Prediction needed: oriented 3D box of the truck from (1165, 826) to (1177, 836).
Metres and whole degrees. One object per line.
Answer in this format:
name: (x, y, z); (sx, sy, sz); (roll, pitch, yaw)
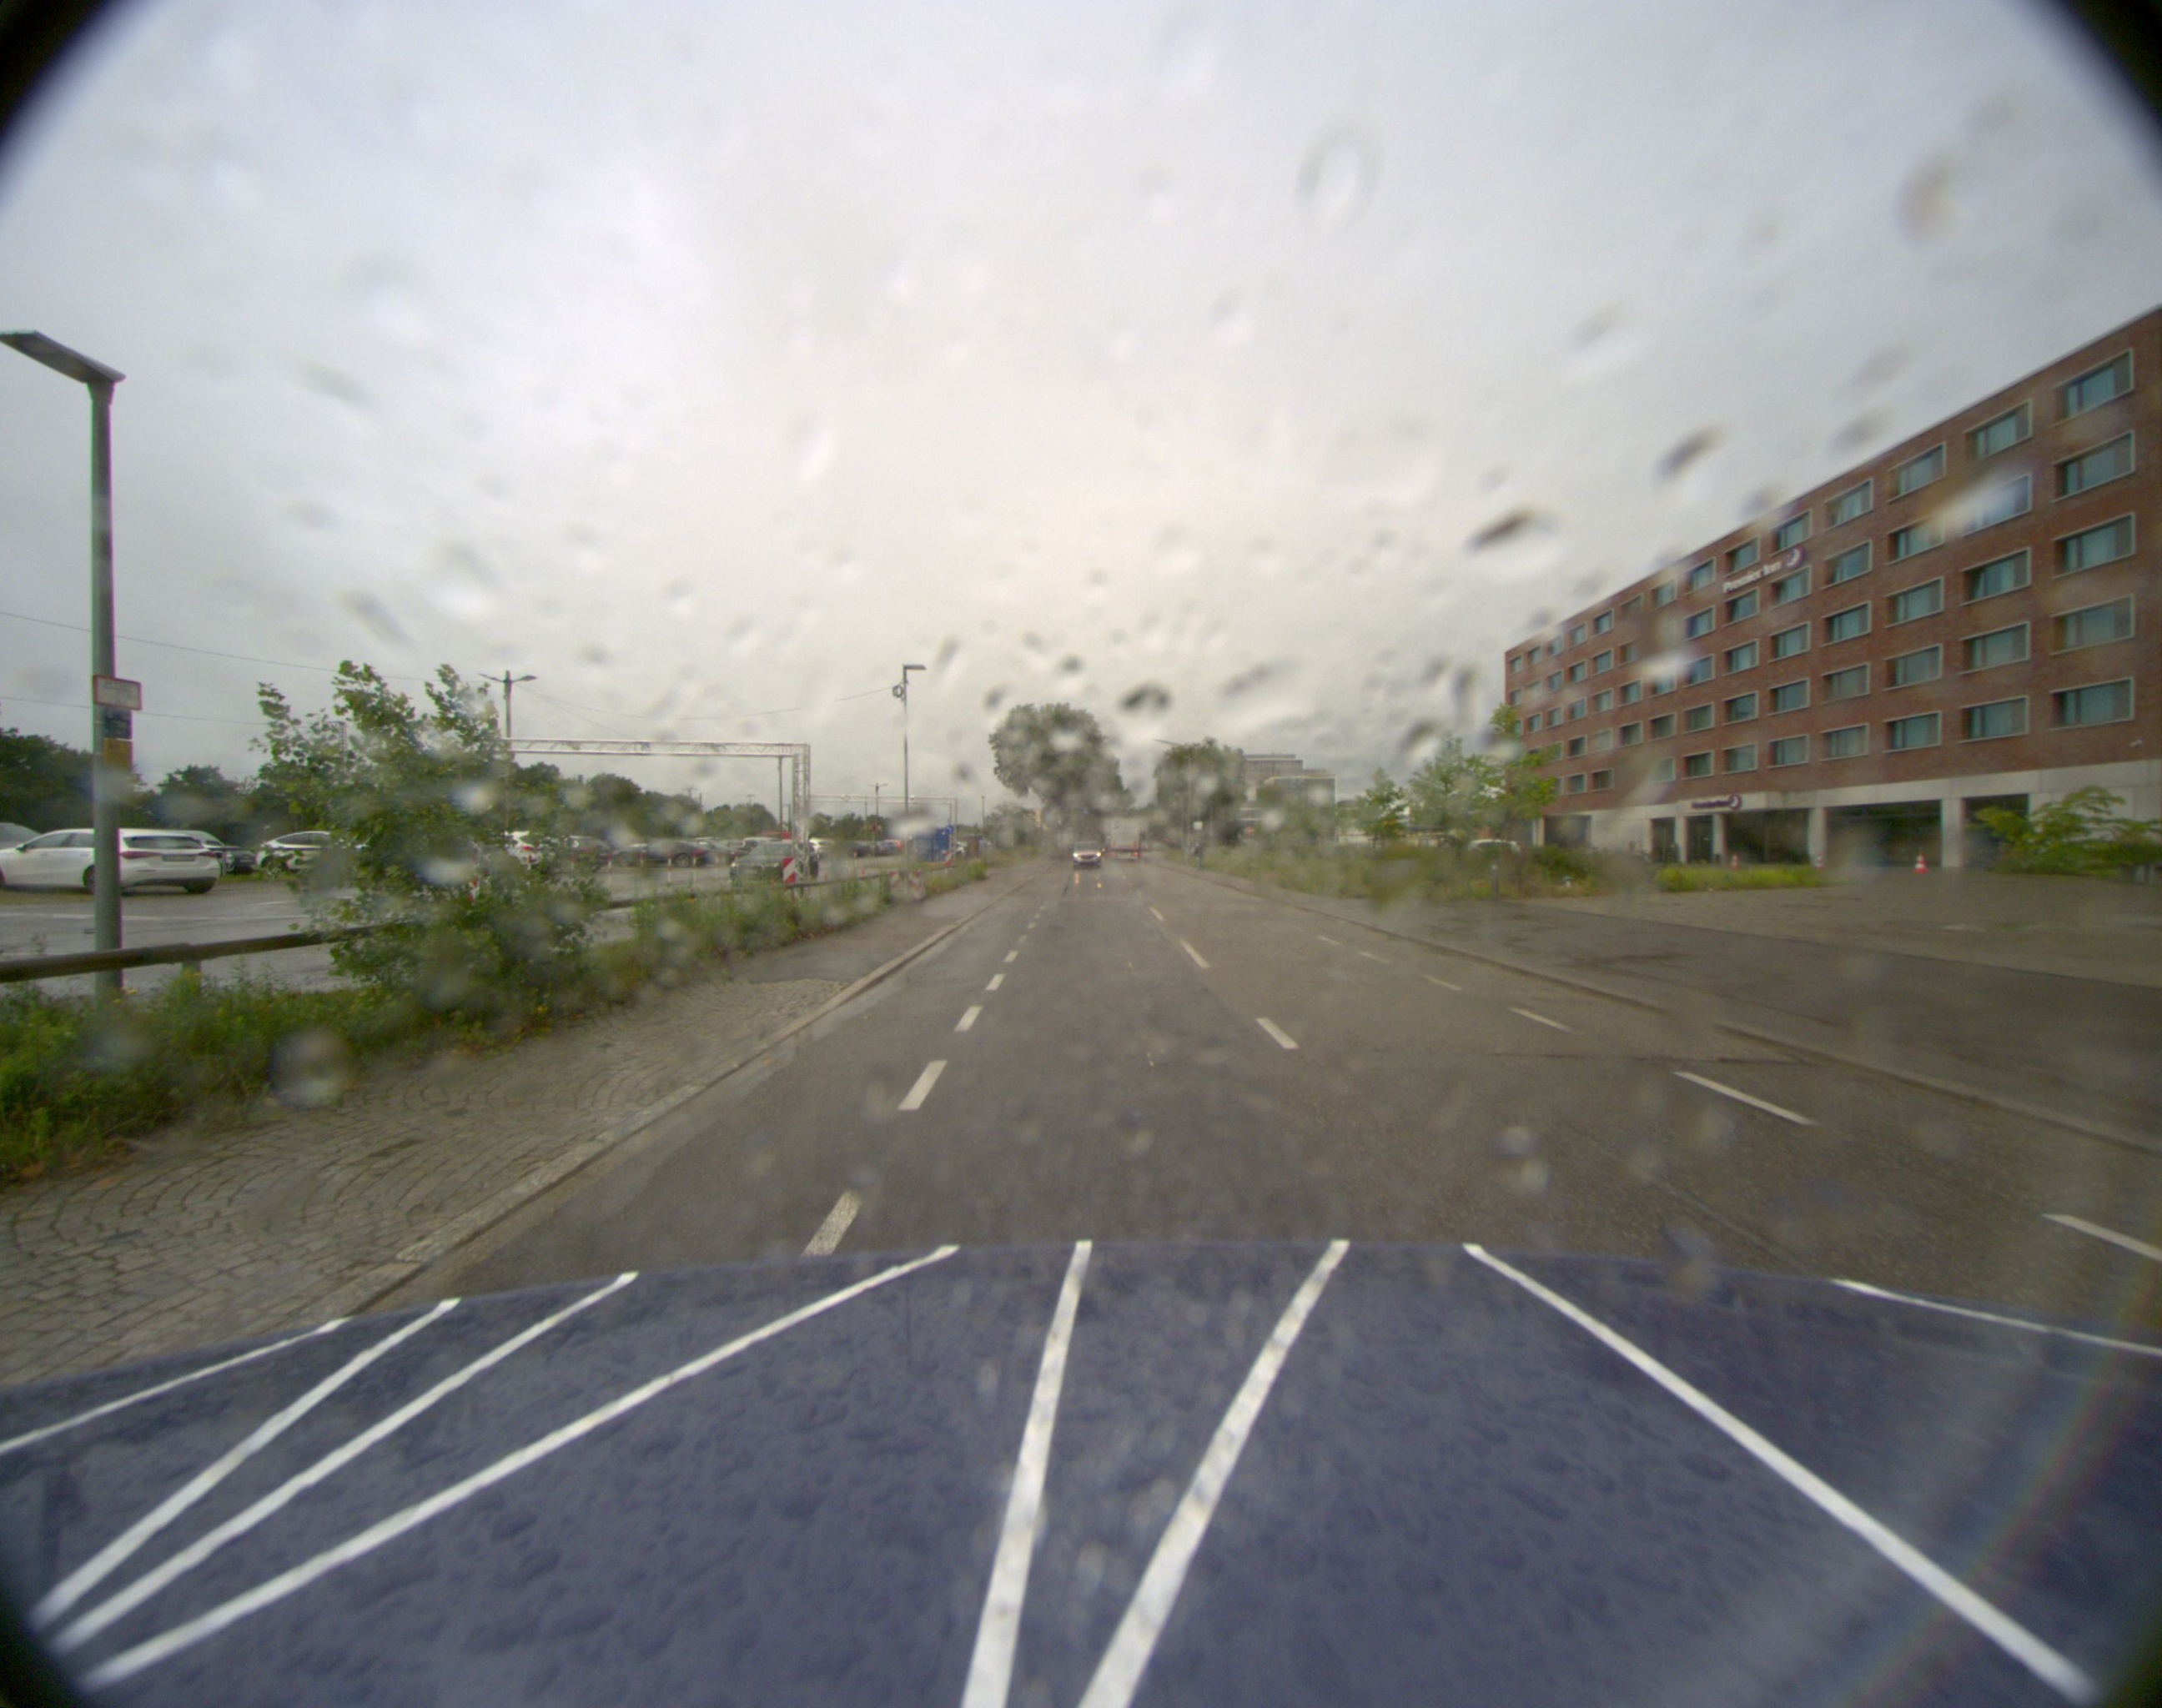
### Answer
truck: (22.208, -5.661, 188.044); (2.090, 2.605, 6.975); (0, 2, -1)

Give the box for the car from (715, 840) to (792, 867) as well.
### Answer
car: (-20.262, -0.049, 47.086); (3.961, 1.482, 1.869); (1, 3, 3)

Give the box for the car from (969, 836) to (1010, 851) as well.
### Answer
car: (-9.634, -1.137, 80.293); (4.170, 1.412, 1.862); (-1, 3, -2)

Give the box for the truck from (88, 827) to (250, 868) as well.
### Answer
truck: (-47.989, -0.383, 40.220); (2.086, 2.002, 5.279); (1, 1, 2)

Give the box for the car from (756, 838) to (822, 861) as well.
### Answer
car: (-20.820, -0.338, 54.273); (3.961, 1.482, 1.777); (1, 3, 3)

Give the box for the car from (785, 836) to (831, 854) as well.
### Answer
car: (-27.842, -0.959, 77.618); (3.995, 1.790, 1.797); (0, 2, 5)

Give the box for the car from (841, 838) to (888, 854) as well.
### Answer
car: (-21.041, -0.769, 73.961); (3.961, 1.419, 1.886); (1, 3, 3)

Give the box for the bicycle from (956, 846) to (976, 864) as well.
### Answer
bicycle: (-7.420, 0.057, 49.061); (0.507, 1.078, 1.705); (1, 2, 22)

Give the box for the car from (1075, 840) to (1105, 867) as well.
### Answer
car: (0.550, -0.081, 50.077); (1.838, 1.714, 4.171); (1, 1, 0)

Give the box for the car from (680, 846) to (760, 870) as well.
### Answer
car: (-21.021, 0.242, 44.307); (3.895, 1.214, 1.648); (1, 3, 6)

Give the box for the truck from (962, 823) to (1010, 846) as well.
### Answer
truck: (-10.359, -2.178, 83.060); (5.046, 2.389, 2.109); (-1, 2, -2)

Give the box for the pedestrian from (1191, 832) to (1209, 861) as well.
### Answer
pedestrian: (7.099, -0.438, 45.352); (0.911, 1.708, 1.026); (0, 2, 1)

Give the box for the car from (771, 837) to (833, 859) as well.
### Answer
car: (-20.930, -0.458, 57.070); (3.961, 1.482, 1.777); (1, 3, 3)

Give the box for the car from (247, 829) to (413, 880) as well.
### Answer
car: (-26.989, -0.013, 27.417); (4.071, 1.650, 1.831); (2, 3, -1)

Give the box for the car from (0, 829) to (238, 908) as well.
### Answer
car: (-21.575, 0.263, 16.790); (3.838, 1.476, 1.927); (2, 3, 4)

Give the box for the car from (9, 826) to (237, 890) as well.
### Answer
car: (-27.086, 0.075, 21.604); (4.070, 1.596, 1.926); (2, 3, 2)

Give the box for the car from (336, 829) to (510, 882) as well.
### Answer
car: (-21.250, 0.007, 24.652); (4.054, 1.476, 1.927); (2, 3, 4)

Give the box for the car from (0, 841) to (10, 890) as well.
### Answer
car: (-37.585, 0.392, 24.090); (4.328, 1.580, 2.020); (0, 1, 0)

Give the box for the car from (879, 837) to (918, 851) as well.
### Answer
car: (-21.214, -1.159, 88.304); (3.996, 1.441, 1.841); (1, 3, 3)

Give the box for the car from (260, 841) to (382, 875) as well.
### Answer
car: (-38.175, 0.168, 38.237); (4.199, 1.635, 1.811); (0, 2, -2)

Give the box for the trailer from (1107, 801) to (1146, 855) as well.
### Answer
trailer: (4.240, -2.435, 72.247); (3.301, 4.628, 13.731); (0, 2, 3)

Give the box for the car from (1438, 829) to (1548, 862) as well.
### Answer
car: (20.821, -0.442, 38.520); (4.533, 1.632, 1.999); (0, 2, -2)

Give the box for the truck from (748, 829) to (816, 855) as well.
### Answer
truck: (-27.011, -1.102, 68.829); (5.301, 2.354, 2.152); (0, 2, 0)

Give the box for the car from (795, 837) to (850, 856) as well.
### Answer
car: (-21.412, -0.624, 63.037); (3.961, 1.419, 1.886); (1, 3, 3)

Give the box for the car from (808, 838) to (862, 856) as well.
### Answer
car: (-21.120, -0.602, 65.256); (3.961, 1.419, 1.886); (1, 3, 3)

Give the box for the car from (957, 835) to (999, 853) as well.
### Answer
car: (-10.336, -1.018, 76.452); (3.906, 1.586, 1.896); (-1, 3, -2)

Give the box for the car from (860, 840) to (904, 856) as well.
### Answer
car: (-20.803, -0.650, 79.584); (4.075, 1.482, 1.925); (1, 3, 3)

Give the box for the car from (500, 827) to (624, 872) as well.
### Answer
car: (-20.660, -0.195, 30.324); (3.783, 1.575, 1.786); (2, 3, 4)

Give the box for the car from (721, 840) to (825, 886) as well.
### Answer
car: (-10.563, 0.243, 26.422); (1.899, 1.448, 4.226); (0, 1, 0)

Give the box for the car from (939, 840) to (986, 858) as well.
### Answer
car: (-10.251, -0.430, 65.873); (3.781, 1.386, 1.904); (-1, 3, -2)

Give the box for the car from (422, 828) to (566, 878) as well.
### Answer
car: (-21.301, -0.067, 27.664); (3.911, 1.575, 1.786); (2, 3, 4)

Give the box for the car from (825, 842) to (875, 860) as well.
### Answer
car: (-20.782, -0.296, 68.467); (3.961, 1.419, 1.886); (1, 3, 3)

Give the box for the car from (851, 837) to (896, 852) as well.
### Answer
car: (-20.943, -0.983, 76.718); (3.961, 1.419, 1.821); (1, 3, 3)

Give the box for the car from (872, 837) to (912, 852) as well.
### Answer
car: (-21.171, -1.092, 85.180); (3.961, 1.529, 1.806); (1, 3, 3)

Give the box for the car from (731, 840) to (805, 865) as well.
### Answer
car: (-20.290, -0.132, 49.349); (3.961, 1.482, 1.869); (1, 3, 3)

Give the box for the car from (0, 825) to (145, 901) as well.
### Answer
car: (-26.295, 0.154, 18.487); (4.713, 1.596, 1.926); (2, 3, 2)

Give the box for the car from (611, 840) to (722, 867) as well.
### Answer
car: (-21.213, -0.060, 39.033); (4.599, 1.214, 1.977); (1, 3, 0)
